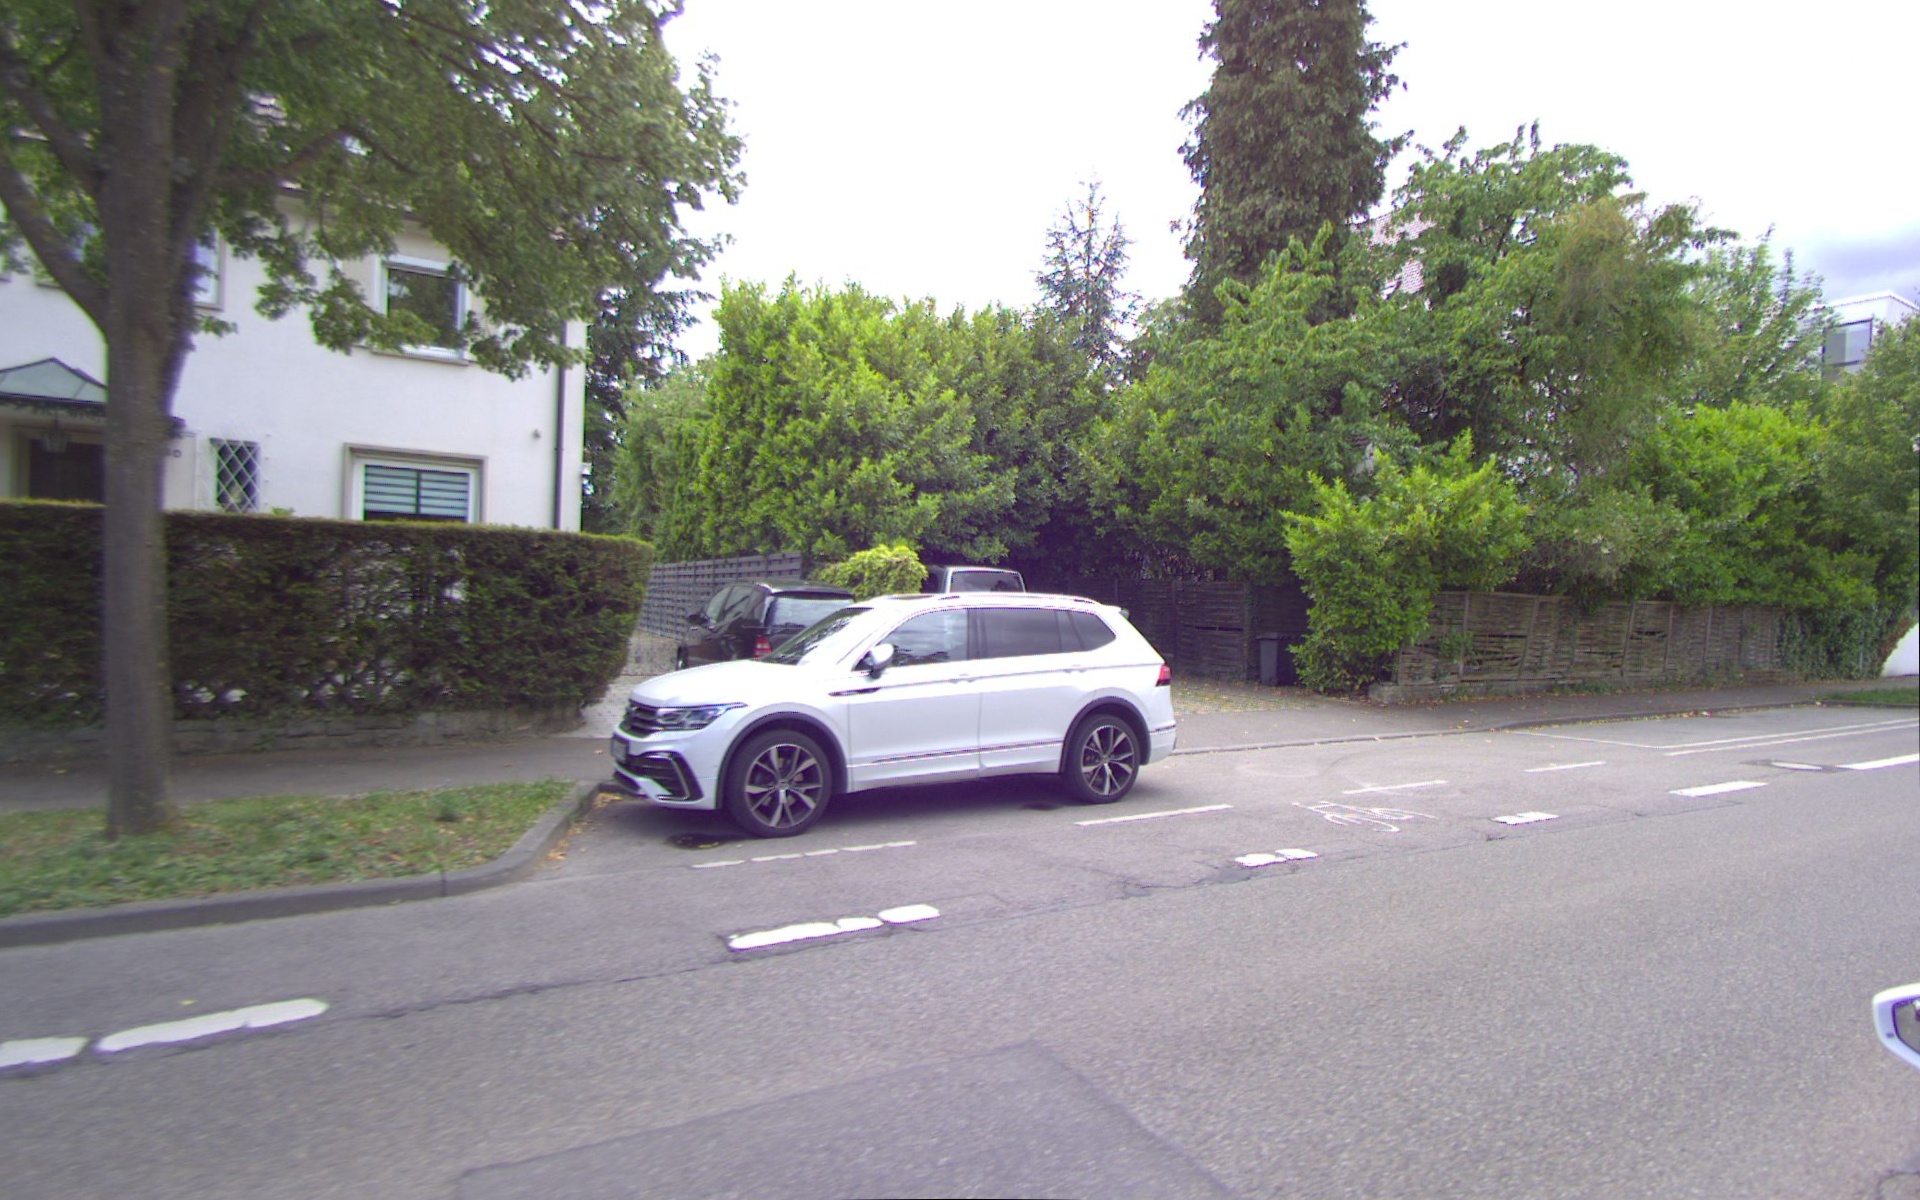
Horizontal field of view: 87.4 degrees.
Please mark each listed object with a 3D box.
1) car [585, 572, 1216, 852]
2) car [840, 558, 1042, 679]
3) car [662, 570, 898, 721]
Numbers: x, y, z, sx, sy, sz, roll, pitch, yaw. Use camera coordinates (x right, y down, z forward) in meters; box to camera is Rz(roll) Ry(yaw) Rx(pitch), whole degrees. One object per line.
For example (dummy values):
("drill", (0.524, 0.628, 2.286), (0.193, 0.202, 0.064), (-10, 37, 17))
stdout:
("car", (-0.356, 0.742, 8.170), (4.808, 1.711, 1.865), (2, -1, -30))
("car", (-0.501, 0.323, 18.678), (1.877, 1.962, 4.438), (1, -1, -29))
("car", (-2.494, 0.508, 13.005), (1.744, 1.606, 4.178), (1, -1, -29))
